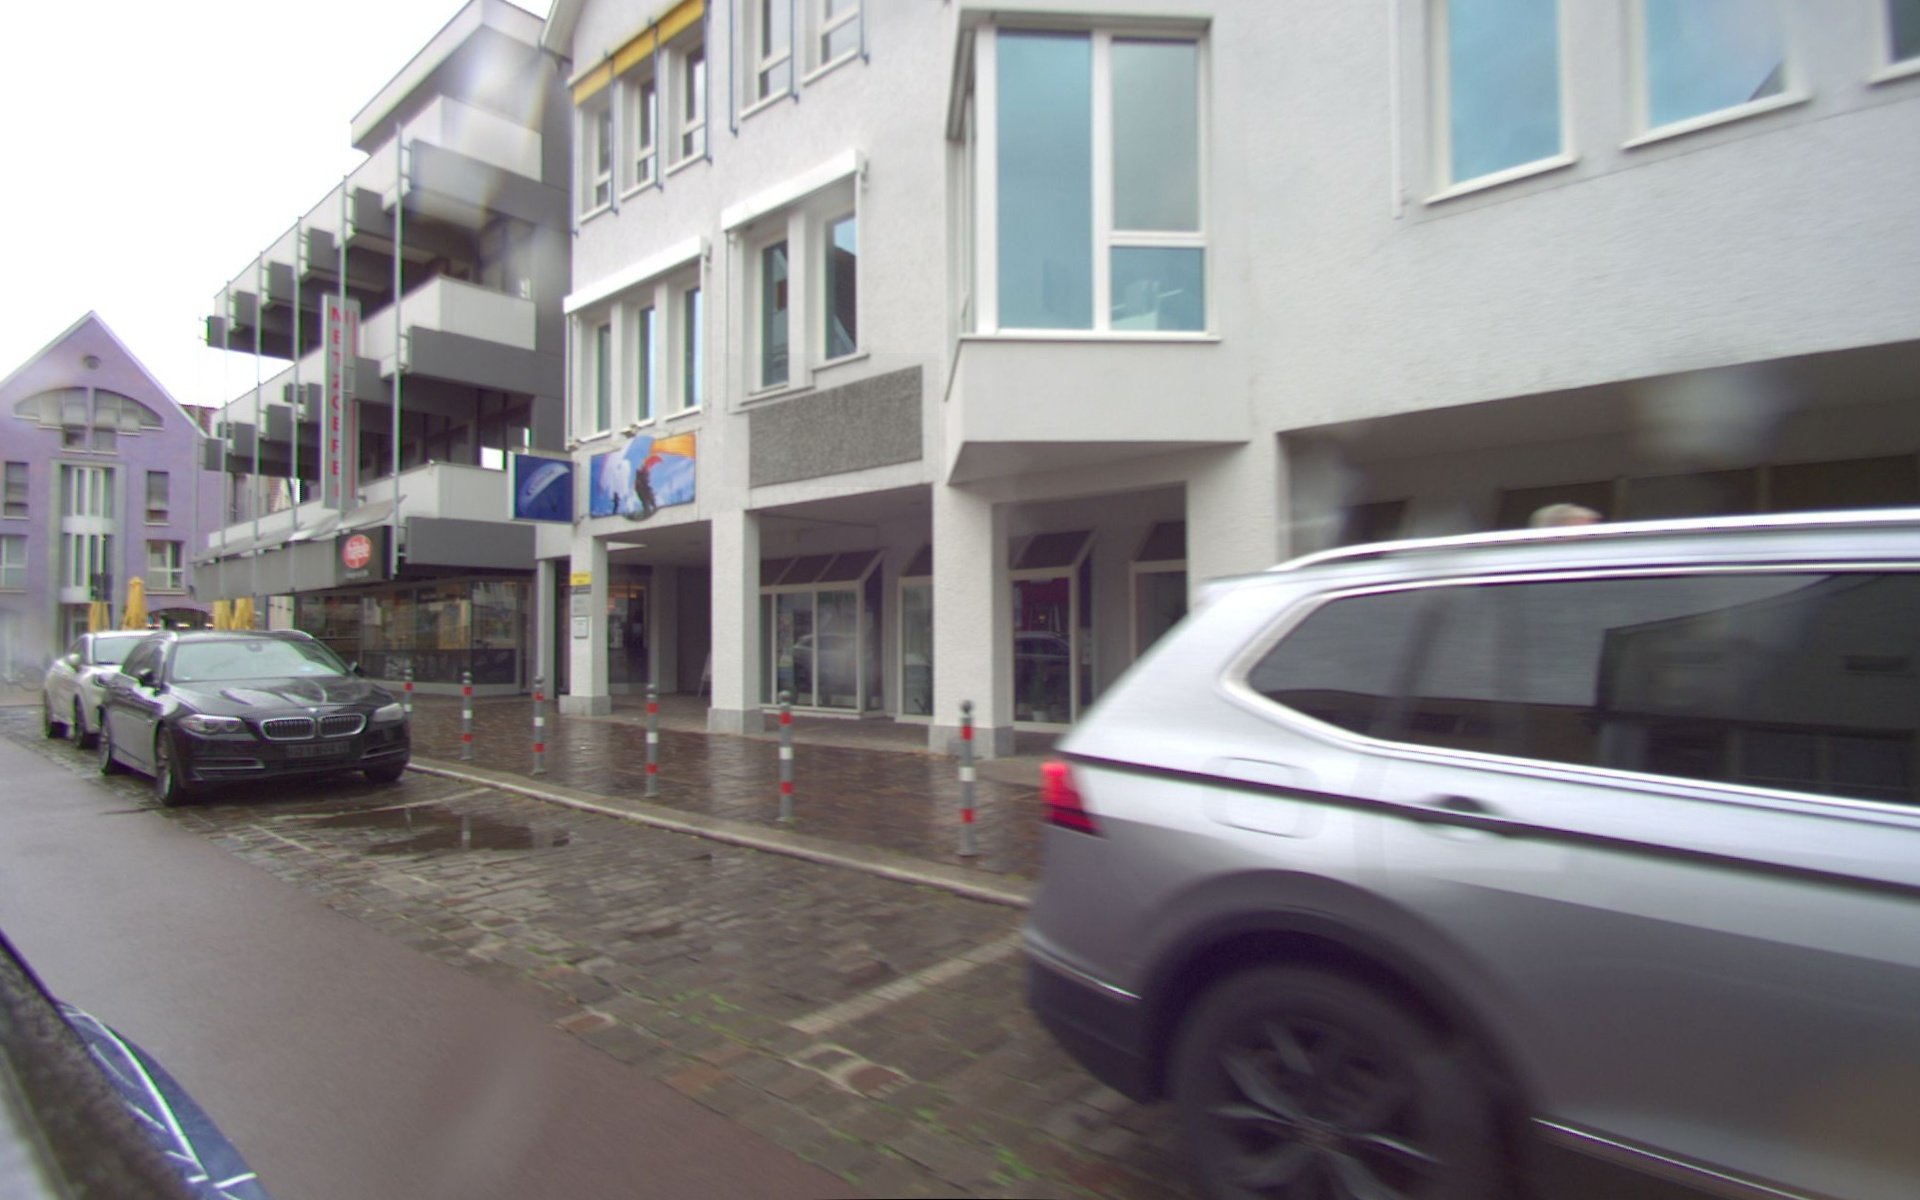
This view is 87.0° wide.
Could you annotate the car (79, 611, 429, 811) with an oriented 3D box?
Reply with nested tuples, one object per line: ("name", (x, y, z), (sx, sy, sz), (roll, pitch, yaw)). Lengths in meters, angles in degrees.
("car", (-7.117, 0.947, 9.977), (4.762, 1.510, 1.811), (-3, -4, 43))

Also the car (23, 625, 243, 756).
("car", (-11.821, 1.235, 14.375), (3.997, 1.563, 1.773), (-4, -3, 41))

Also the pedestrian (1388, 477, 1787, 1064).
("pedestrian", (2.420, 0.543, 3.906), (1.116, 1.820, 1.024), (-2, -2, 41))

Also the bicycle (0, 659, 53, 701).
("bicycle", (-28.272, 2.381, 30.241), (0.441, 1.173, 1.739), (0, -1, 21))

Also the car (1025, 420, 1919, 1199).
("car", (2.415, 0.536, 1.811), (4.404, 1.580, 1.762), (0, -1, 40))
